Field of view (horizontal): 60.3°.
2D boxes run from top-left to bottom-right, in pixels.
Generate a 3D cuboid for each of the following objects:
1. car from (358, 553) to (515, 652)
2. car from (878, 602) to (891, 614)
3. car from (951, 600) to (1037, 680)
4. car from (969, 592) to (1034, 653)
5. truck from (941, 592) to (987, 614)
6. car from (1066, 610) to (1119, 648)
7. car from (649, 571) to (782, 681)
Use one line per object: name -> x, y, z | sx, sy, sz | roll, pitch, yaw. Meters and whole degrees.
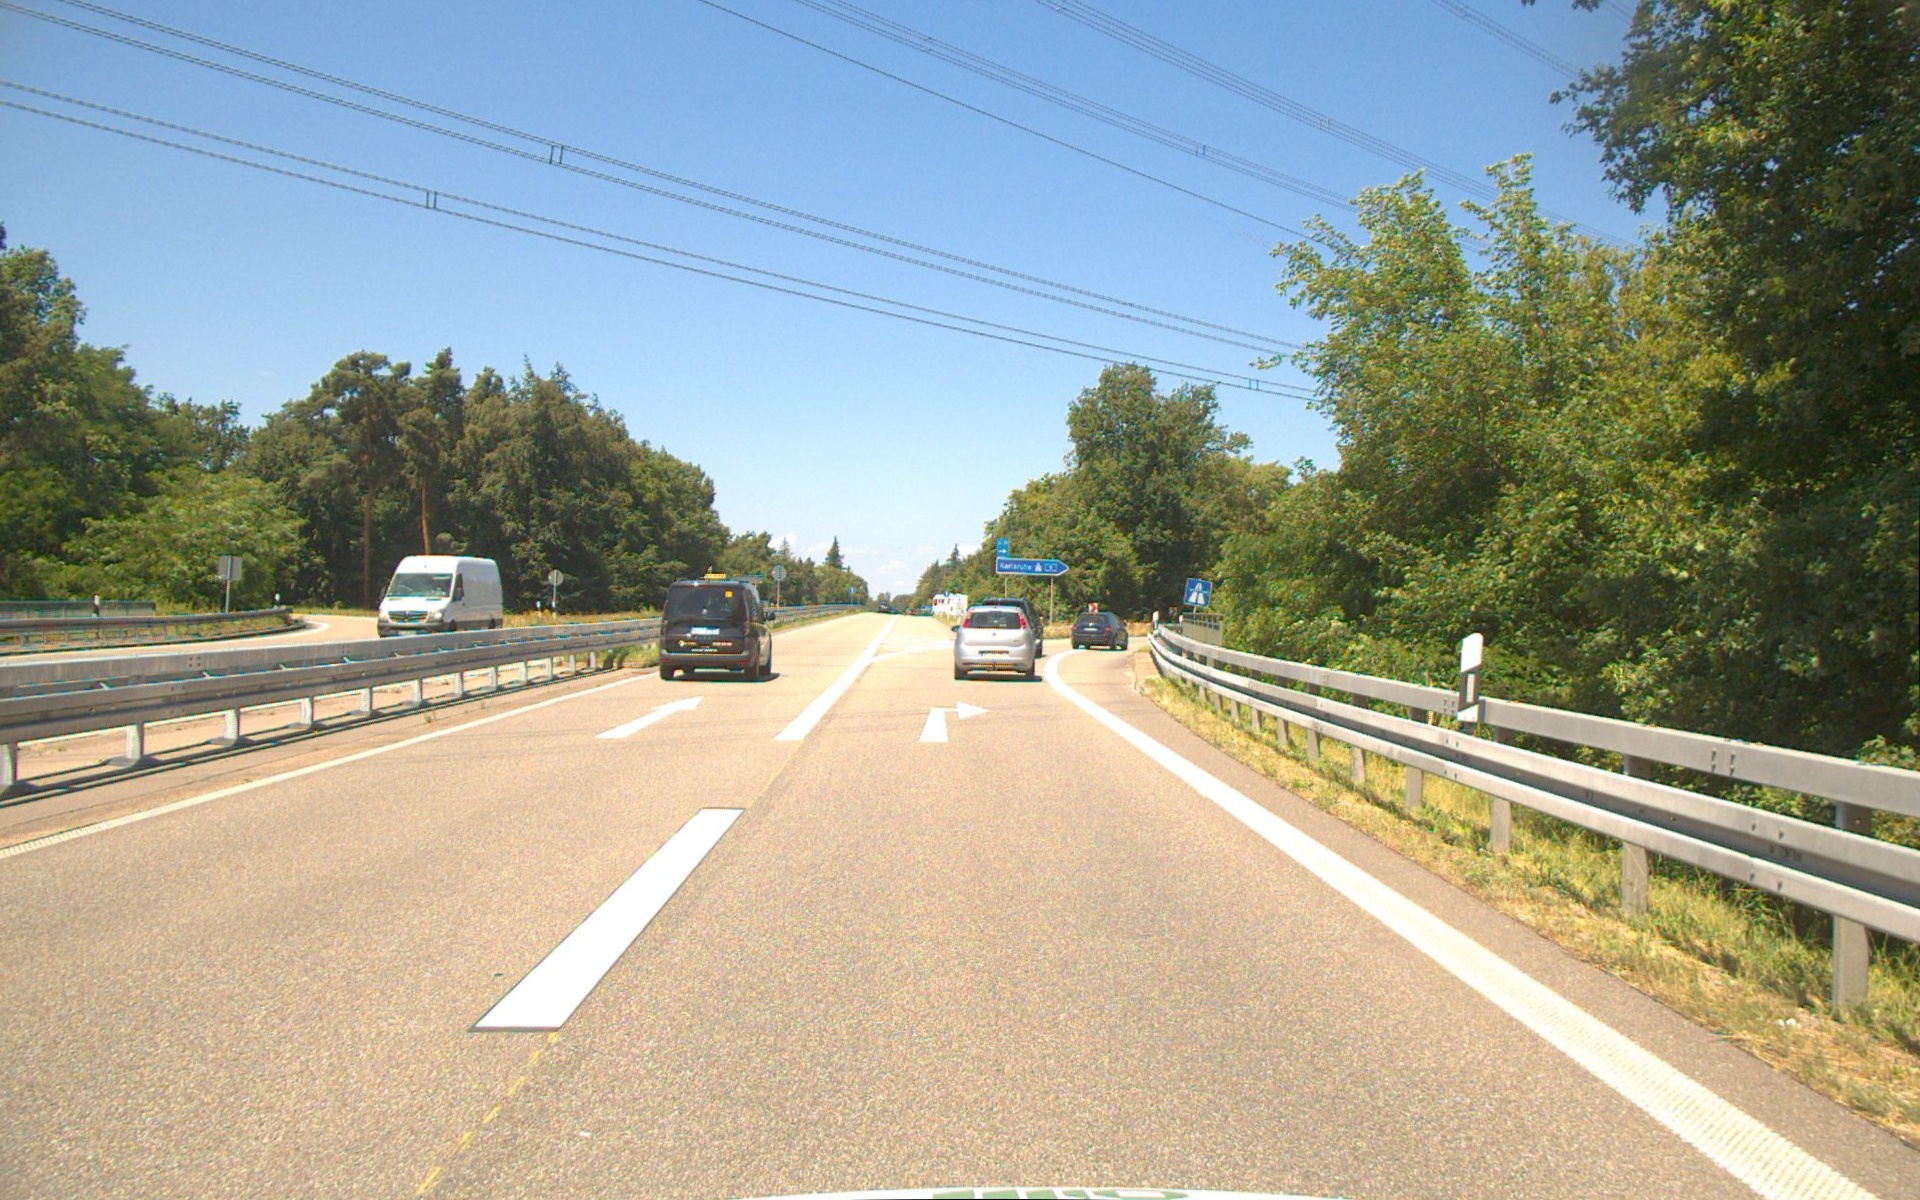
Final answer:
car -> -15.210, 0.070, 48.604 | 2.473, 2.664, 7.183 | -1, 0, -2
car -> -10.355, 1.138, 227.013 | 1.678, 1.497, 3.573 | 3, 0, -1
car -> 0.734, 0.791, 34.261 | 1.606, 1.493, 3.420 | 3, 0, 2
car -> 1.299, 0.676, 50.332 | 1.606, 1.682, 3.576 | 3, 0, 6
truck -> 0.531, 0.377, 208.444 | 2.568, 2.688, 7.655 | 1, 0, 28
car -> 5.231, 1.140, 65.030 | 1.605, 1.366, 3.577 | 3, 0, 11
car -> -4.587, 0.463, 31.826 | 1.816, 1.920, 5.572 | 0, 0, -1
